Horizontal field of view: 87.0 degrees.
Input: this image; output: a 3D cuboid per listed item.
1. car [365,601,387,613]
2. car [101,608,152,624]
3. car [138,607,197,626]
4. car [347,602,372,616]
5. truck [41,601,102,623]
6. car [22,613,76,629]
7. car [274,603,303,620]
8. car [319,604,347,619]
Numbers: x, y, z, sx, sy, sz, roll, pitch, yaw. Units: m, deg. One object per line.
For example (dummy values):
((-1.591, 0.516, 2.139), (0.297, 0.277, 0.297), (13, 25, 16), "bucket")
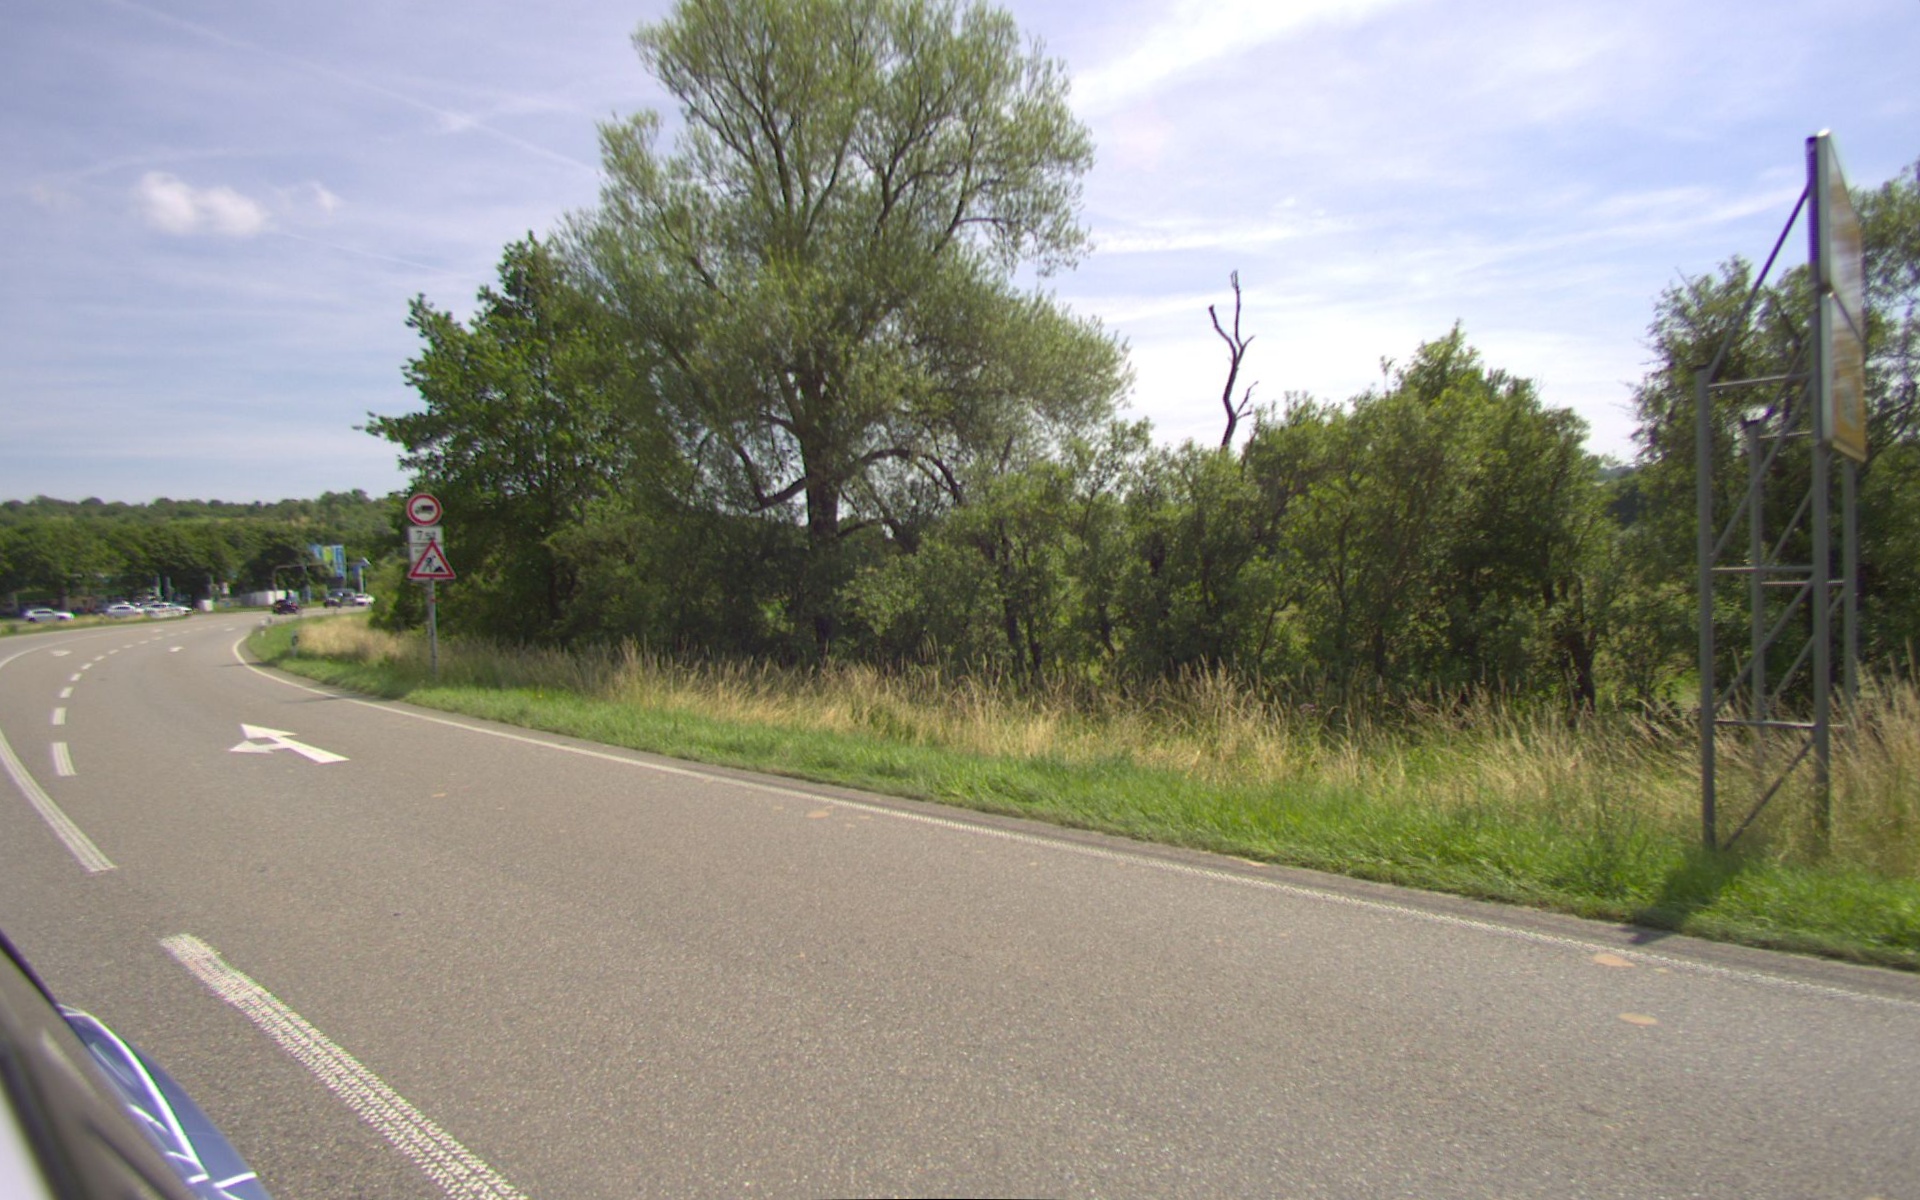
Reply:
((-88.786, 1.088, 154.007), (1.780, 1.745, 4.010), (-2, 1, -13), "car")
((-92.258, 1.787, 112.024), (3.904, 1.429, 1.834), (-3, 4, -21), "car")
((-85.211, 1.728, 108.861), (4.564, 1.619, 2.004), (-3, 4, -13), "car")
((-87.010, 1.341, 146.643), (1.781, 1.745, 4.009), (-2, 3, -9), "car")
((-121.311, 1.583, 138.296), (2.239, 2.637, 6.127), (-2, 2, 12), "truck")
((-98.059, 2.290, 109.003), (4.037, 1.429, 1.806), (-3, 3, -32), "car")
((-73.437, 1.235, 110.766), (1.746, 1.671, 4.013), (-1, 1, -20), "car")
((-85.587, 1.557, 138.203), (1.781, 1.745, 4.009), (-2, 3, -9), "car")
